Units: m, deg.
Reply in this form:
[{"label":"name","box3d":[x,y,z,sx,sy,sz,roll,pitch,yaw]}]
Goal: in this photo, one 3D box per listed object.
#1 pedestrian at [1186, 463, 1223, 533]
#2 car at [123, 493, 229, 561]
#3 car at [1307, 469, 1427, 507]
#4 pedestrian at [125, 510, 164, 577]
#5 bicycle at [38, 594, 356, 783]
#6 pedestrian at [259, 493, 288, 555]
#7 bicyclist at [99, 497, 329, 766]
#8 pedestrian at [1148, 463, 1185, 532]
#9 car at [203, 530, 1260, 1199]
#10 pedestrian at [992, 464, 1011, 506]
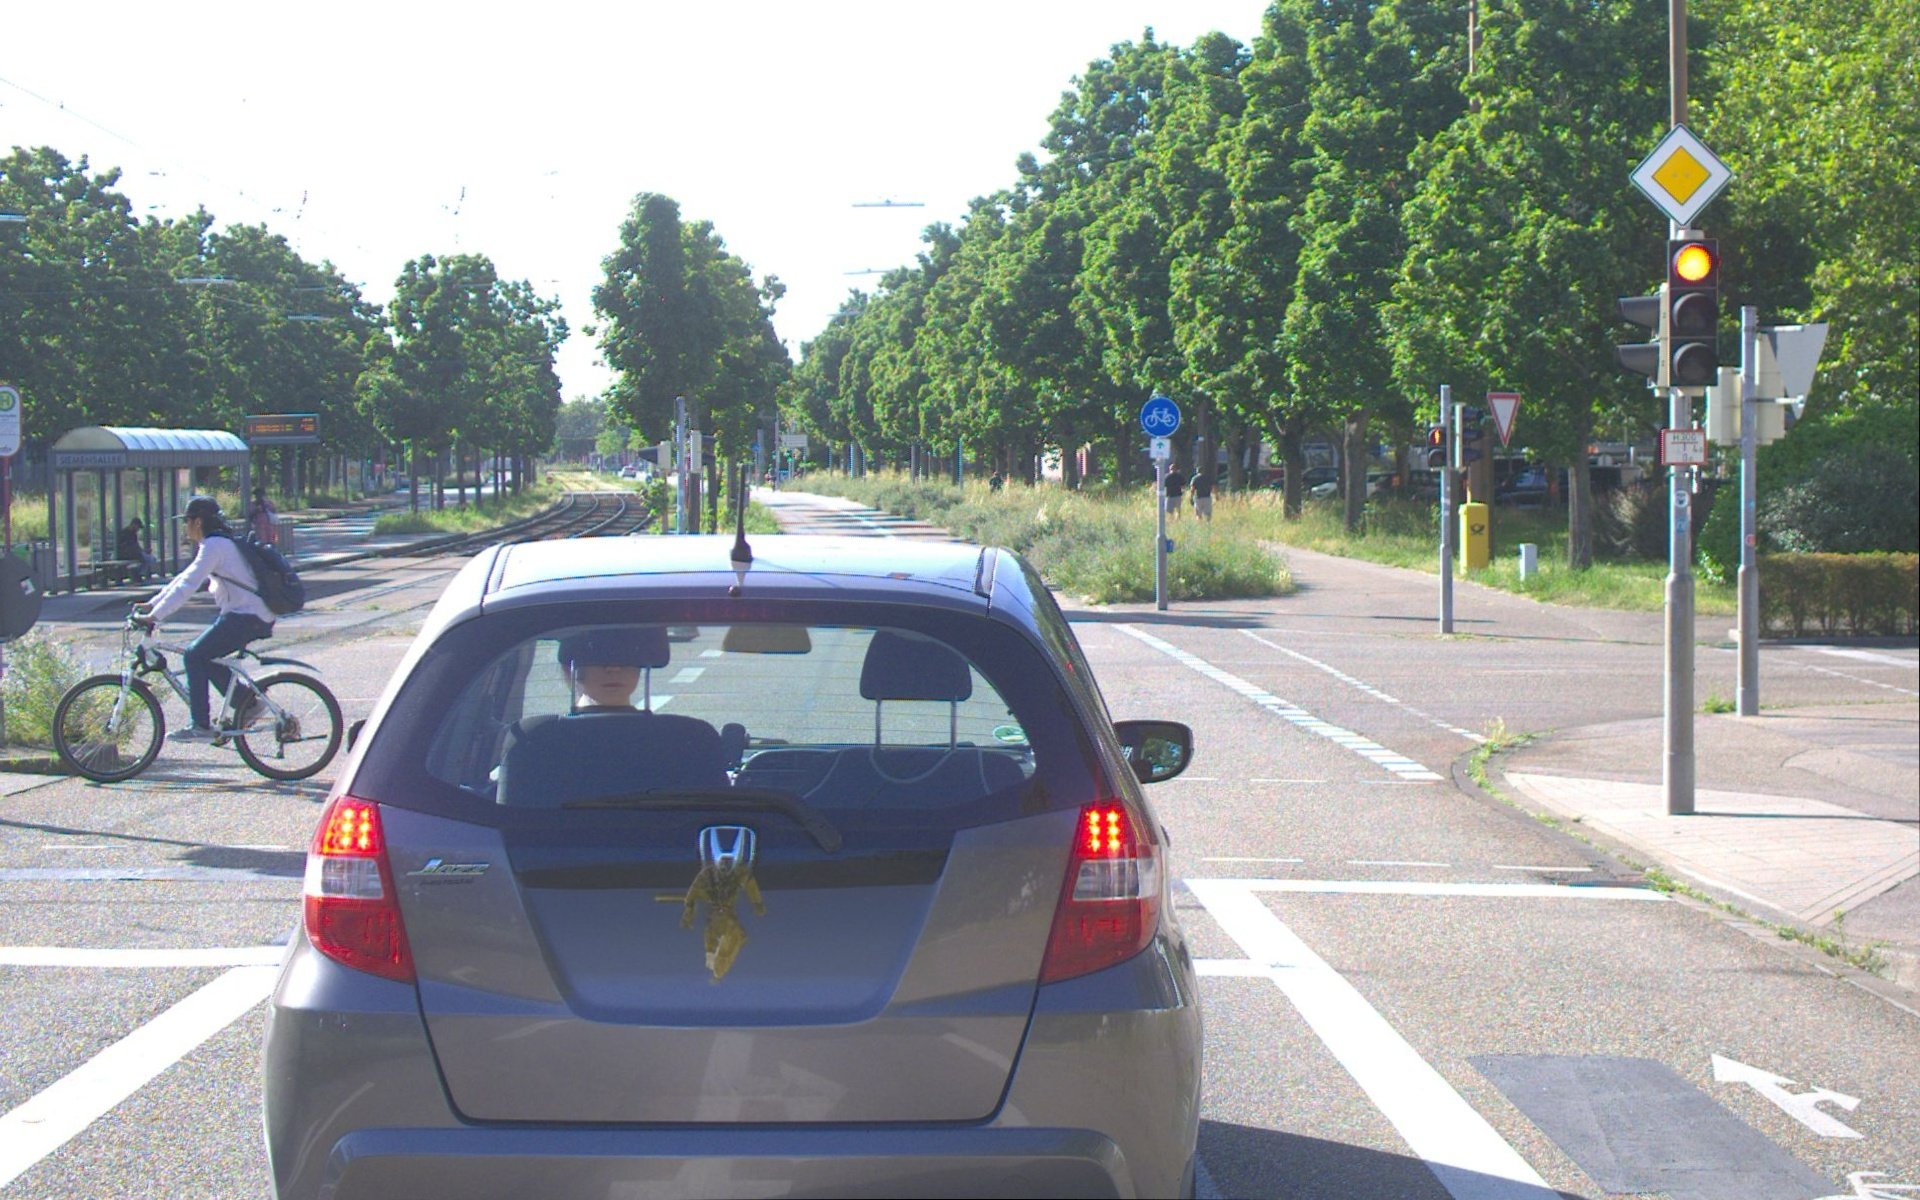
[{"label":"pedestrian","box3d":[6.649,-2.776,93.510,0.882,1.877,0.875,-1,2,-4]},{"label":"car","box3d":[-22.850,-2.153,100.364,2.093,1.803,4.794,-2,3,-3]},{"label":"car","box3d":[17.100,-4.705,144.538,4.630,1.550,2.001,-1,2,-6]},{"label":"pedestrian","box3d":[-15.545,-1.082,65.539,0.563,1.252,0.581,-3,1,-1]},{"label":"bicycle","box3d":[-4.595,0.527,20.780,1.775,1.098,0.699,0,1,-1]},{"label":"pedestrian","box3d":[-15.998,-1.775,80.092,0.544,1.442,0.559,-1,1,-1]},{"label":"bicyclist","box3d":[-4.492,0.176,20.762,1.232,1.588,0.805,0,1,-1]},{"label":"pedestrian","box3d":[5.605,-2.788,93.498,0.882,1.877,0.875,-1,2,-4]},{"label":"car","box3d":[-0.392,0.622,7.416,1.701,1.518,3.710,0,1,-1]},{"label":"pedestrian","box3d":[1.714,-4.718,140.548,0.725,1.685,0.821,0,0,-3]}]
